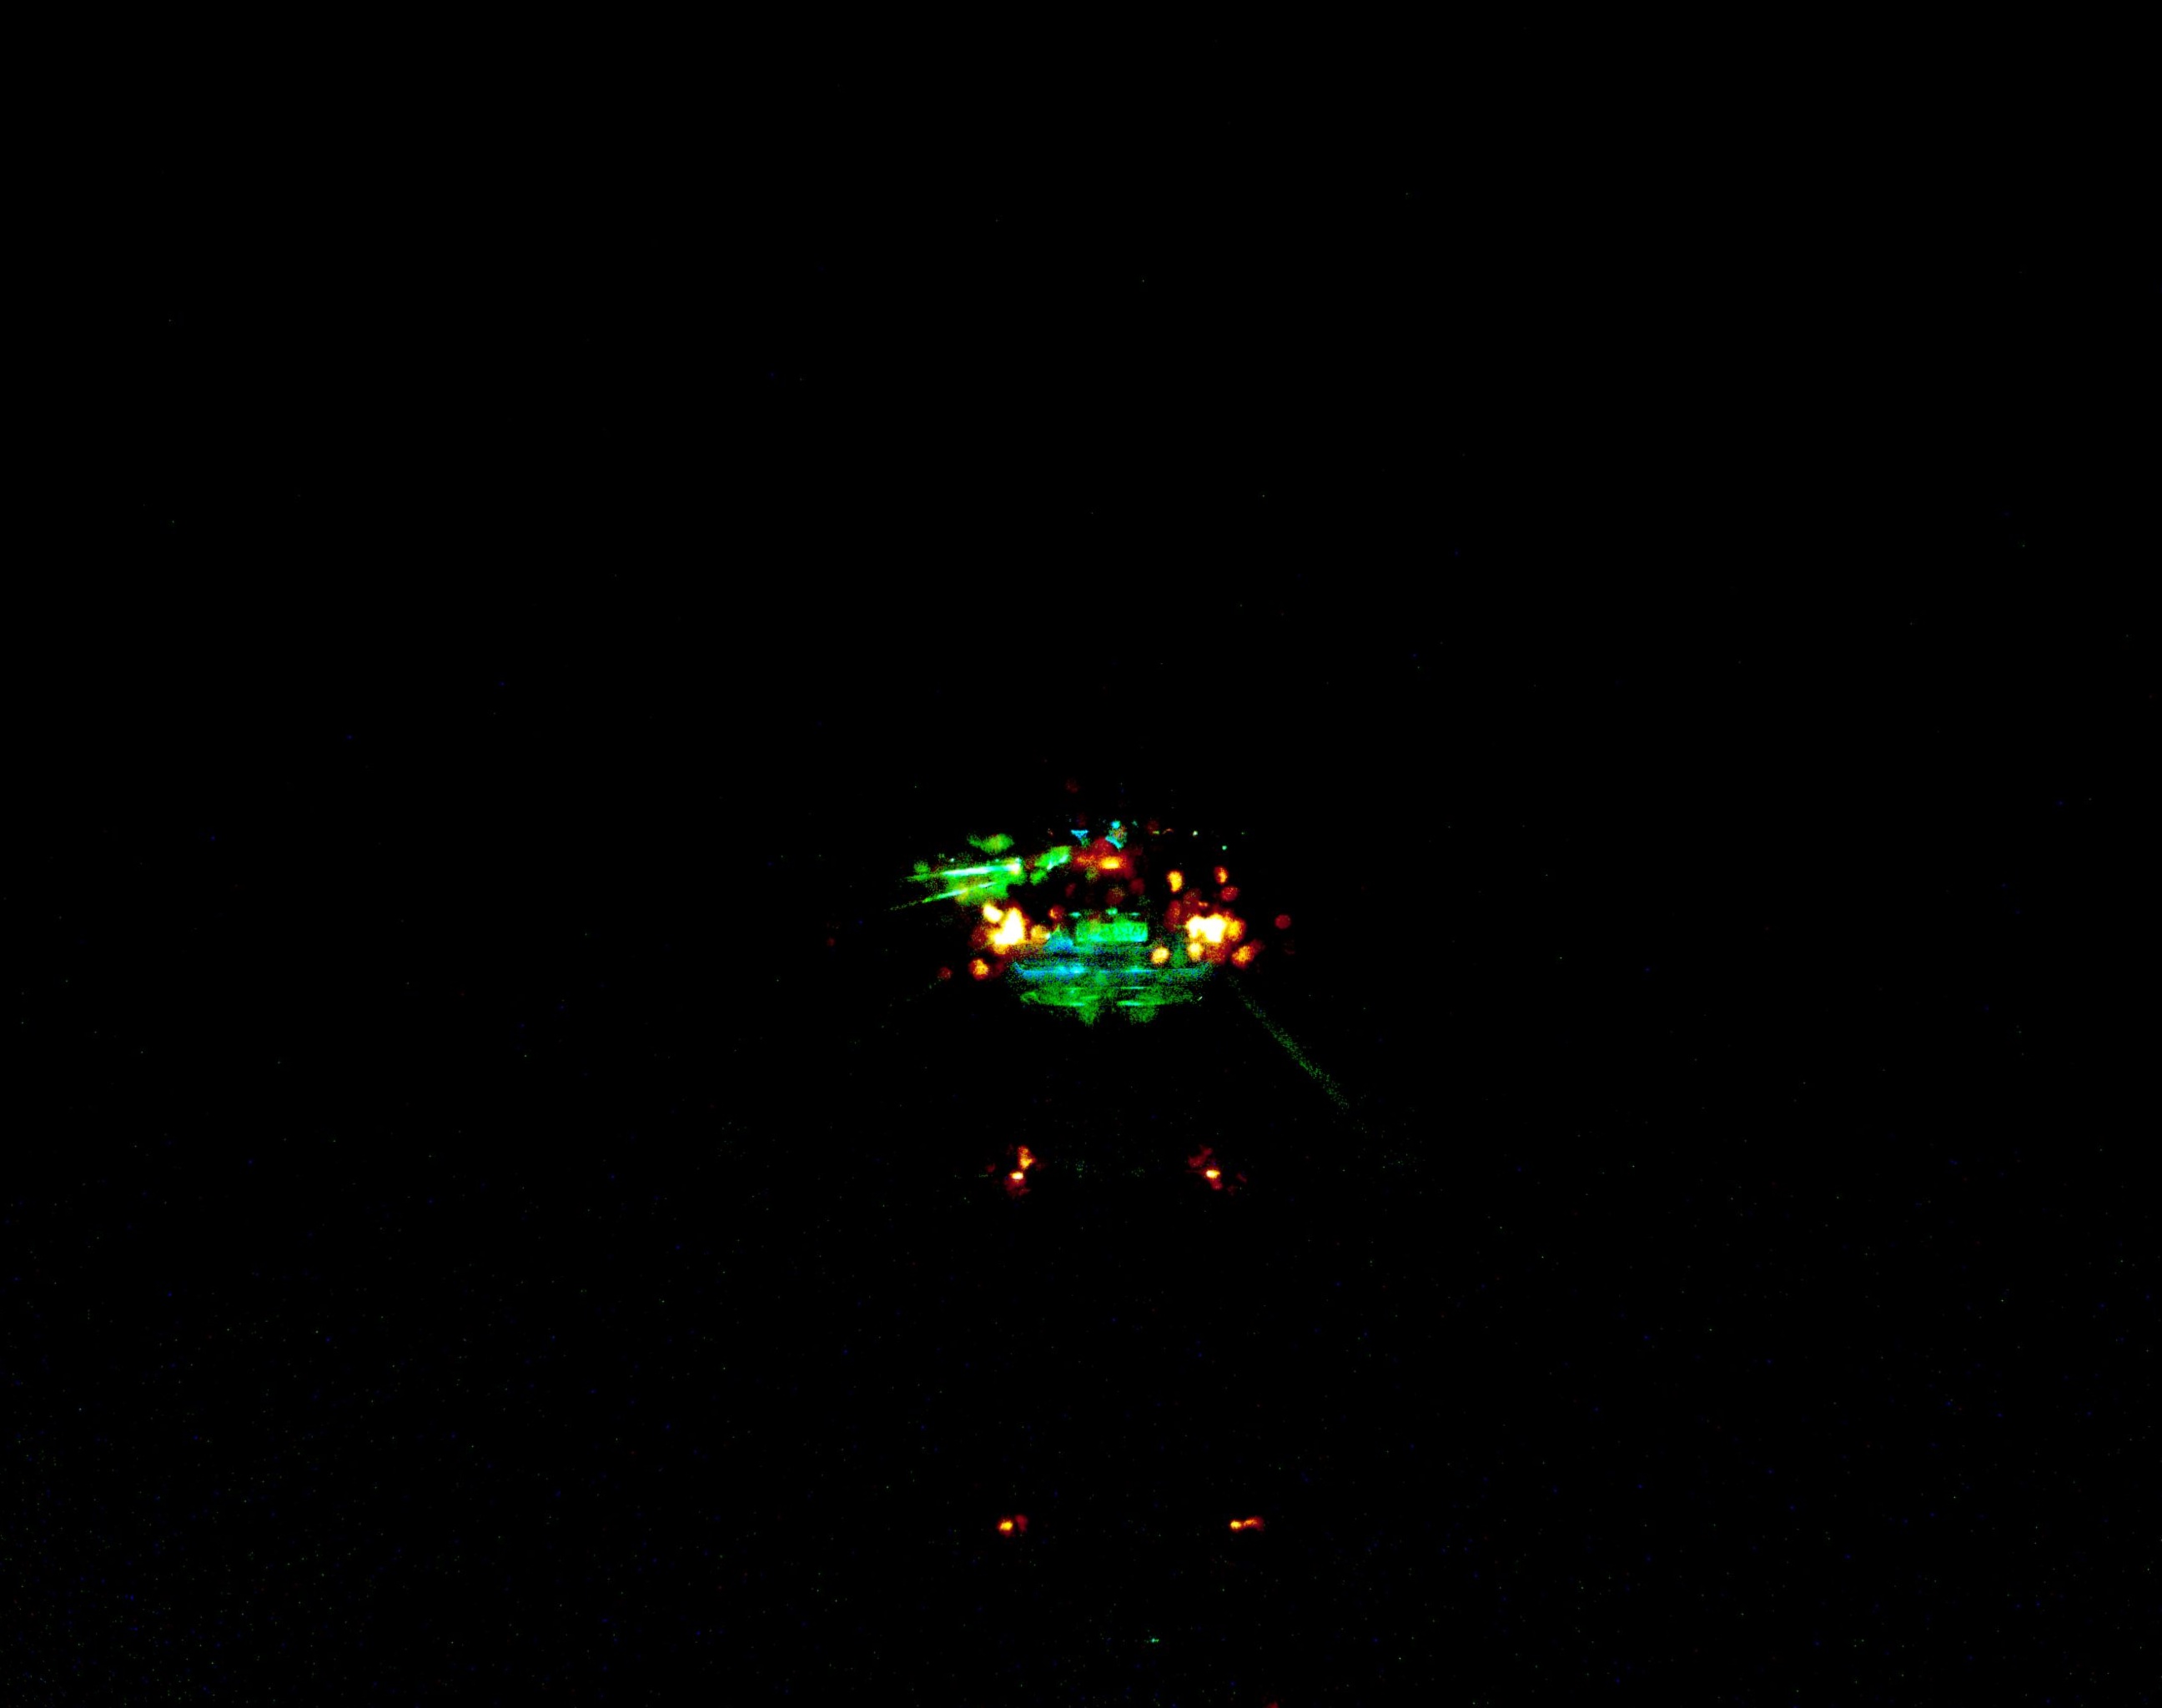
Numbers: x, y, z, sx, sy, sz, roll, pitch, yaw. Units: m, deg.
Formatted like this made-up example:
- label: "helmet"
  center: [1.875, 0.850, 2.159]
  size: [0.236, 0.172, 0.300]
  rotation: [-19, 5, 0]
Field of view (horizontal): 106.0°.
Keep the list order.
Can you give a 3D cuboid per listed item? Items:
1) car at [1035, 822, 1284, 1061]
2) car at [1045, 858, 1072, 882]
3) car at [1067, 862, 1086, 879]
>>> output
- label: "car"
  center: [0.640, 0.630, 7.857]
  size: [1.768, 1.712, 4.002]
  rotation: [-1, 0, 2]
- label: "car"
  center: [-1.710, 1.218, 63.213]
  size: [1.945, 1.656, 4.124]
  rotation: [-2, 0, 0]
- label: "car"
  center: [-0.413, 1.605, 81.050]
  size: [1.831, 1.546, 4.258]
  rotation: [0, 0, 1]
